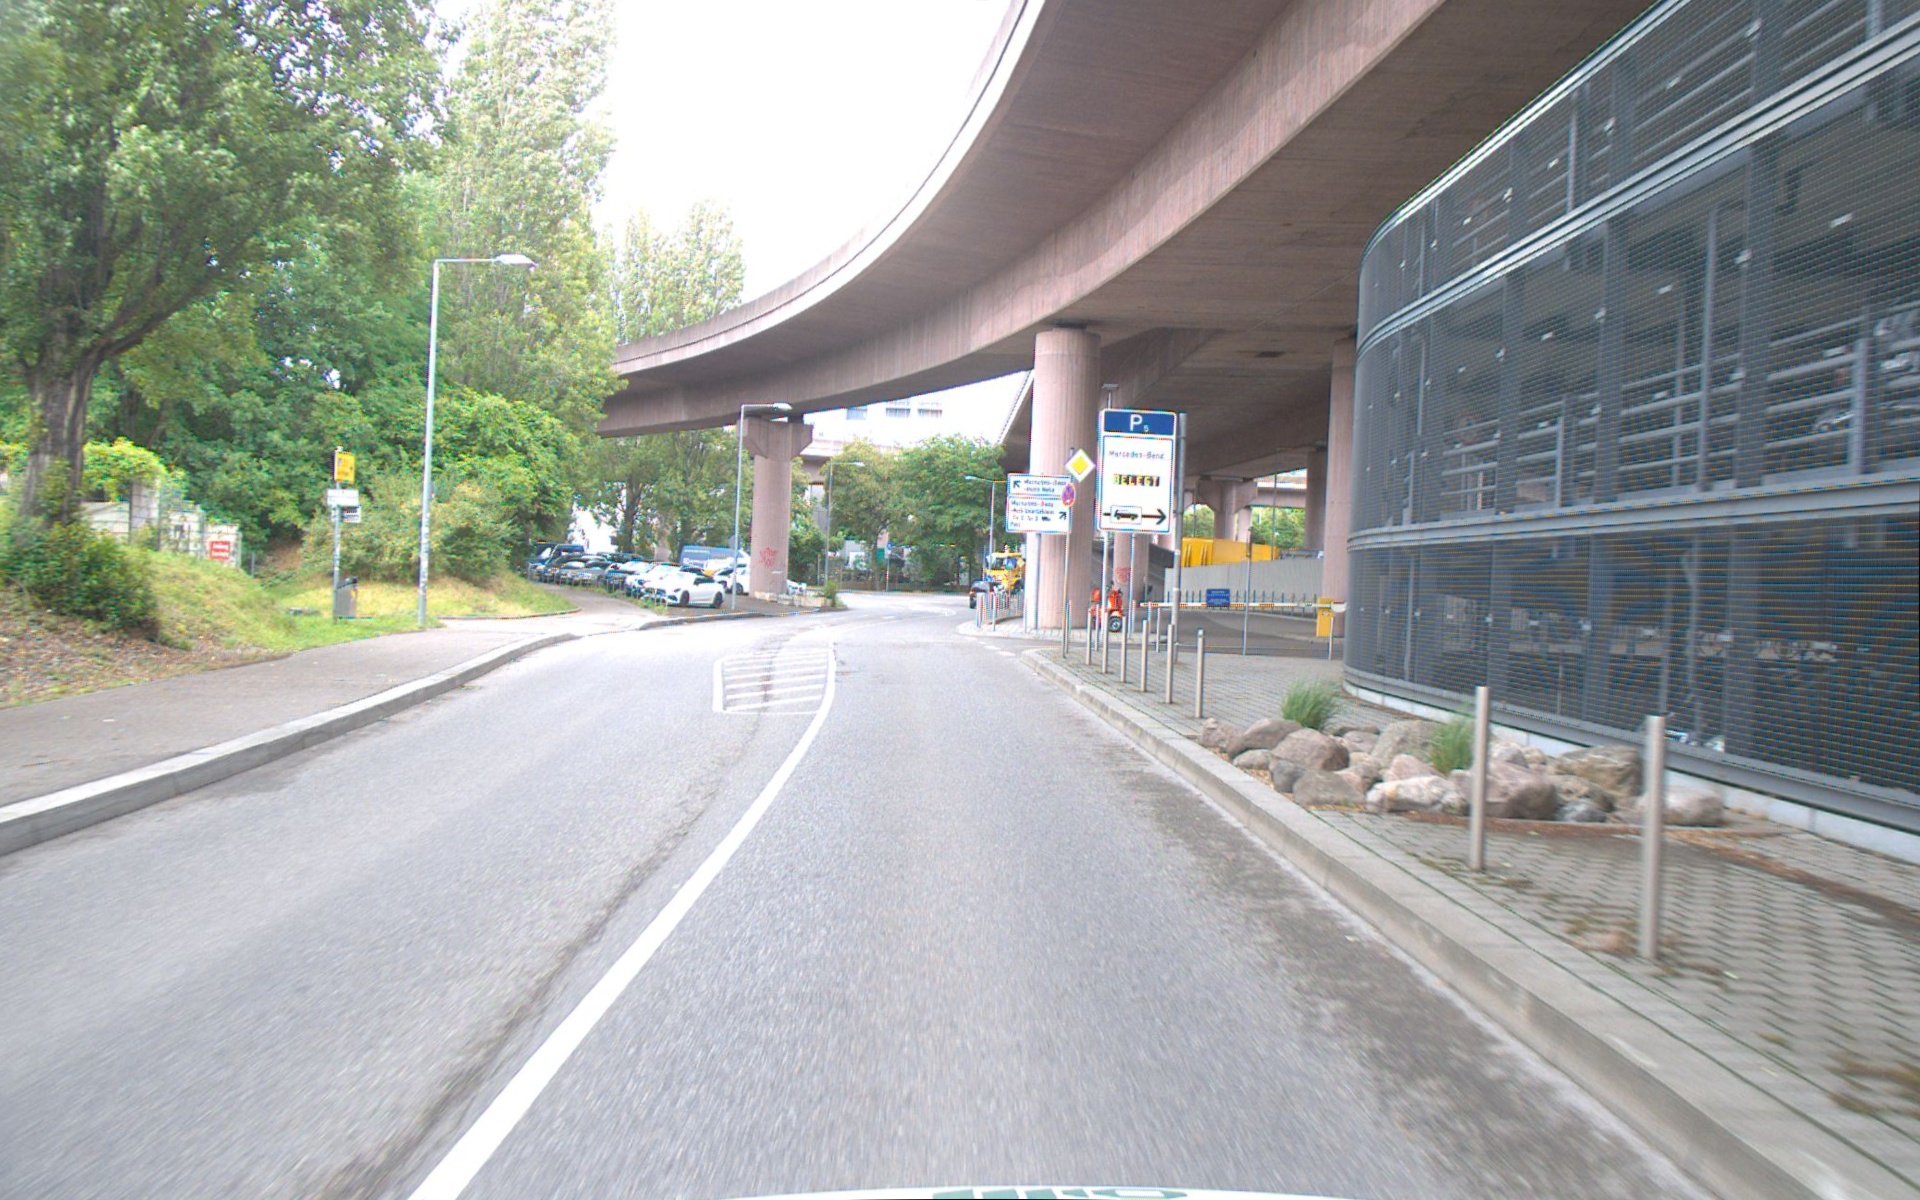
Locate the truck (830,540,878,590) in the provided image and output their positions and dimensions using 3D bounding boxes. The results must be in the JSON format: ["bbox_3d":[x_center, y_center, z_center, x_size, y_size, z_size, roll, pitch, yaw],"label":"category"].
[{"bbox_3d":[-11.037,-3.648,171.229,3.152,4.862,8.013,1,3,-17],"label":"truck"}]

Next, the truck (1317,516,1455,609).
[{"bbox_3d":[22.034,-1.838,85.077,3.089,4.520,9.676,1,1,39],"label":"truck"}]

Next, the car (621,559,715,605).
[{"bbox_3d":[-12.624,-0.752,71.795,1.954,1.609,4.401,6,0,20],"label":"car"}]

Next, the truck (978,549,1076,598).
[{"bbox_3d":[5.326,-2.135,130.305,8.184,3.540,2.890,-2,6,-45],"label":"truck"}]

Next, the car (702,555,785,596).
[{"bbox_3d":[-12.818,-1.453,98.137,4.460,2.147,1.852,3,1,7],"label":"car"}]

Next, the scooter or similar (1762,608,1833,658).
[{"bbox_3d":[23.772,0.917,46.952,1.650,1.239,0.541,6,6,41],"label":"scooter or similar"}]

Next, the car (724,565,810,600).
[{"bbox_3d":[-10.761,-0.974,92.513,4.288,1.633,1.956,4,1,12],"label":"car"}]

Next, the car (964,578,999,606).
[{"bbox_3d":[1.353,-0.545,106.009,1.953,1.708,4.559,2,1,-2],"label":"car"}]

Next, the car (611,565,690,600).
[{"bbox_3d":[-14.046,-0.792,75.190,1.750,1.479,3.746,2,0,22],"label":"car"}]

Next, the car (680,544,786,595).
[{"bbox_3d":[-13.847,-1.849,101.083,6.050,2.772,2.367,3,1,-1],"label":"car"}]

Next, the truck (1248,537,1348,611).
[{"bbox_3d":[24.399,-1.829,119.010,3.091,4.988,8.667,2,1,41],"label":"truck"}]

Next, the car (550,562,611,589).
[{"bbox_3d":[-20.799,-1.330,90.811,1.609,1.466,3.737,1,1,17],"label":"car"}]

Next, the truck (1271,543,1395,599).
[{"bbox_3d":[21.577,-1.704,95.303,3.092,2.995,8.665,-2,0,42],"label":"truck"}]

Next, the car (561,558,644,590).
[{"bbox_3d":[-19.003,-1.362,88.137,1.820,1.513,4.888,5,2,22],"label":"car"}]

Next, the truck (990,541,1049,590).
[{"bbox_3d":[5.588,-3.312,157.246,3.017,4.374,8.012,1,3,-17],"label":"truck"}]

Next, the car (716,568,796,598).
[{"bbox_3d":[-11.766,-1.000,95.544,4.154,1.394,2.002,4,1,10],"label":"car"}]

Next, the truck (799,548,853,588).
[{"bbox_3d":[-13.662,-3.316,167.468,3.015,3.681,7.860,1,3,-23],"label":"truck"}]

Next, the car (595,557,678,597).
[{"bbox_3d":[-15.320,-1.068,78.431,1.819,1.720,4.163,3,0,22],"label":"car"}]

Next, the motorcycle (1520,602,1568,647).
[{"bbox_3d":[17.194,0.708,48.730,0.532,1.124,2.330,2,4,-1],"label":"motorcycle"}]

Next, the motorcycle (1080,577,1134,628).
[{"bbox_3d":[4.212,0.067,47.510,0.783,1.390,2.119,0,1,-18],"label":"motorcycle"}]

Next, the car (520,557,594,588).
[{"bbox_3d":[-22.652,-1.551,93.073,1.857,1.705,4.152,1,1,25],"label":"car"}]

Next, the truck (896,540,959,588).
[{"bbox_3d":[-2.941,-3.233,147.155,3.022,3.934,7.998,0,3,-22],"label":"truck"}]

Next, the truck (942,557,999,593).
[{"bbox_3d":[0.917,-2.293,148.352,2.874,2.949,6.517,0,3,-22],"label":"truck"}]

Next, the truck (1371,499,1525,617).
[{"bbox_3d":[22.119,-1.803,74.481,3.089,5.009,9.676,1,1,39],"label":"truck"}]

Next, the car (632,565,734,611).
[{"bbox_3d":[-11.320,-0.460,67.941,1.953,1.505,4.829,6,0,19],"label":"car"}]

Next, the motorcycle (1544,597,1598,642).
[{"bbox_3d":[18.283,0.570,49.542,0.560,1.124,2.329,2,5,-3],"label":"motorcycle"}]

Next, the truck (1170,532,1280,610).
[{"bbox_3d":[17.935,-1.898,111.519,3.091,5.003,8.667,2,1,41],"label":"truck"}]
